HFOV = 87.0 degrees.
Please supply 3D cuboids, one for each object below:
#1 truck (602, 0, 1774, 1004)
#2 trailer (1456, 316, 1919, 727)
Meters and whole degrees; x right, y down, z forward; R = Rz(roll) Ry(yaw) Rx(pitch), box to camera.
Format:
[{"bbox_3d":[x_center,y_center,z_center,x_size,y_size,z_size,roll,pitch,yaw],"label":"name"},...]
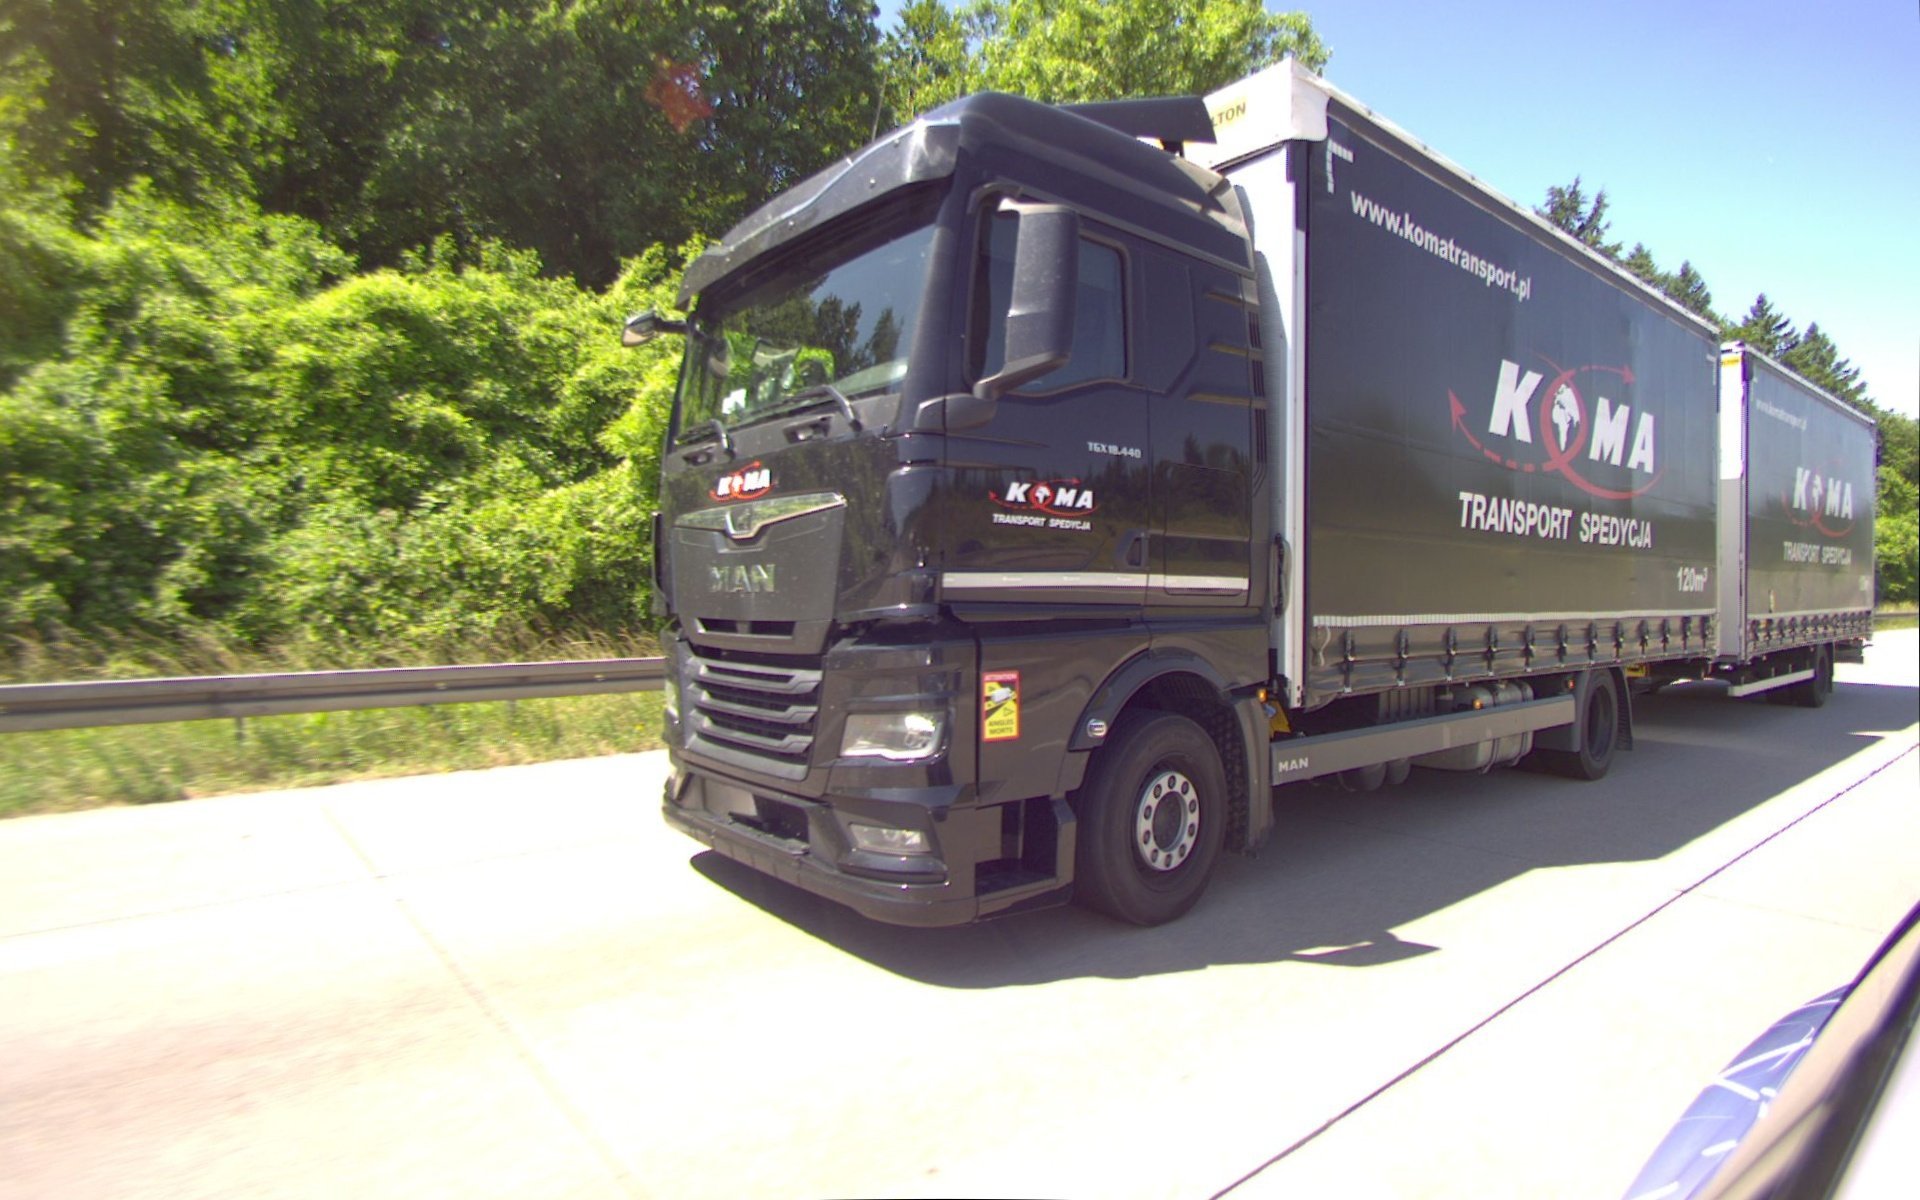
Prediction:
[{"bbox_3d":[2.979,-0.770,7.822,10.418,4.067,3.166,0,0,-40],"label":"truck"},{"bbox_3d":[10.529,-0.810,14.096,8.925,4.067,3.141,0,0,-40],"label":"trailer"}]
